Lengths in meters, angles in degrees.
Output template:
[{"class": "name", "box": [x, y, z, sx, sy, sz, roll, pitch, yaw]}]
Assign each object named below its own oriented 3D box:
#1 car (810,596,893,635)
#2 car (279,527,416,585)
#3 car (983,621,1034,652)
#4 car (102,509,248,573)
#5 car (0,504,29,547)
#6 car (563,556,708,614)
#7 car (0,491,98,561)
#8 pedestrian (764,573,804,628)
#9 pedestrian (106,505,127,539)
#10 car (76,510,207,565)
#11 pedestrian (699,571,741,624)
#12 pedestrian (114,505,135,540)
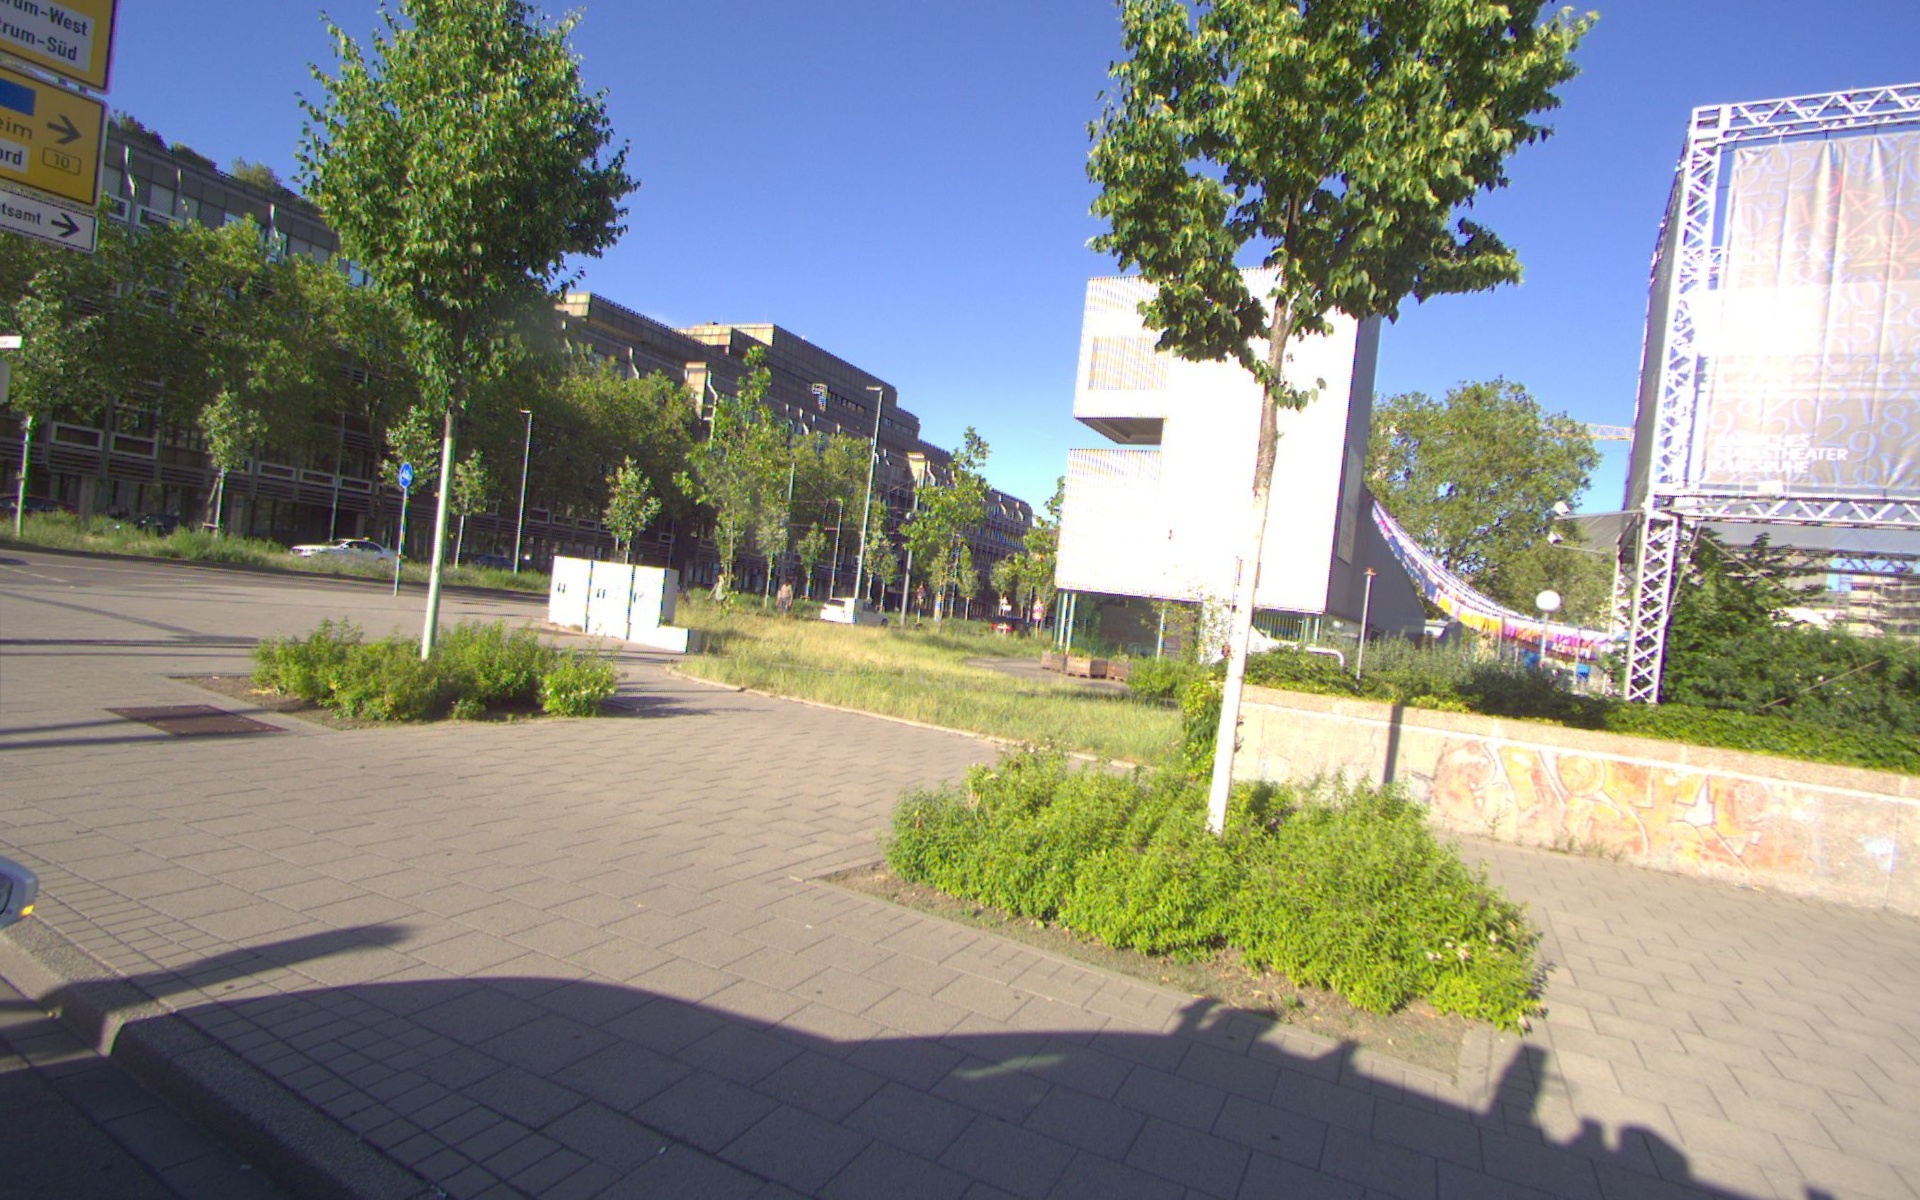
[{"class": "car", "box": [-5.457, 0.819, 51.076, 1.964, 1.546, 4.700, 7, -1, 24]}, {"class": "car", "box": [-30.672, -2.175, 50.583, 2.062, 2.036, 5.455, 6, -2, 29]}, {"class": "car", "box": [3.455, 2.591, 70.306, 1.964, 1.779, 4.485, 7, -1, 23]}, {"class": "car", "box": [-34.109, -2.523, 43.880, 1.965, 2.036, 4.458, 7, -2, 27]}, {"class": "car", "box": [-37.242, -3.037, 36.943, 1.836, 1.525, 3.997, 7, -2, 29]}, {"class": "car", "box": [-11.848, -0.500, 37.066, 1.966, 1.622, 4.943, 8, 1, 29]}, {"class": "car", "box": [-33.312, -2.705, 35.373, 1.966, 2.037, 3.997, 6, -2, 29]}, {"class": "pedestrian", "box": [-6.015, 0.021, 34.401, 0.925, 1.750, 0.695, 7, 1, 18]}, {"class": "pedestrian", "box": [-42.910, -3.972, 51.181, 0.576, 1.610, 0.541, 7, 1, 29]}, {"class": "car", "box": [-36.941, -2.782, 45.514, 1.965, 1.770, 3.998, 6, -2, 28]}, {"class": "pedestrian", "box": [-8.023, -0.065, 33.703, 0.925, 1.650, 0.803, 7, 1, 18]}, {"class": "pedestrian", "box": [-42.324, -3.939, 50.941, 0.528, 1.690, 0.541, 7, 1, 29]}]
